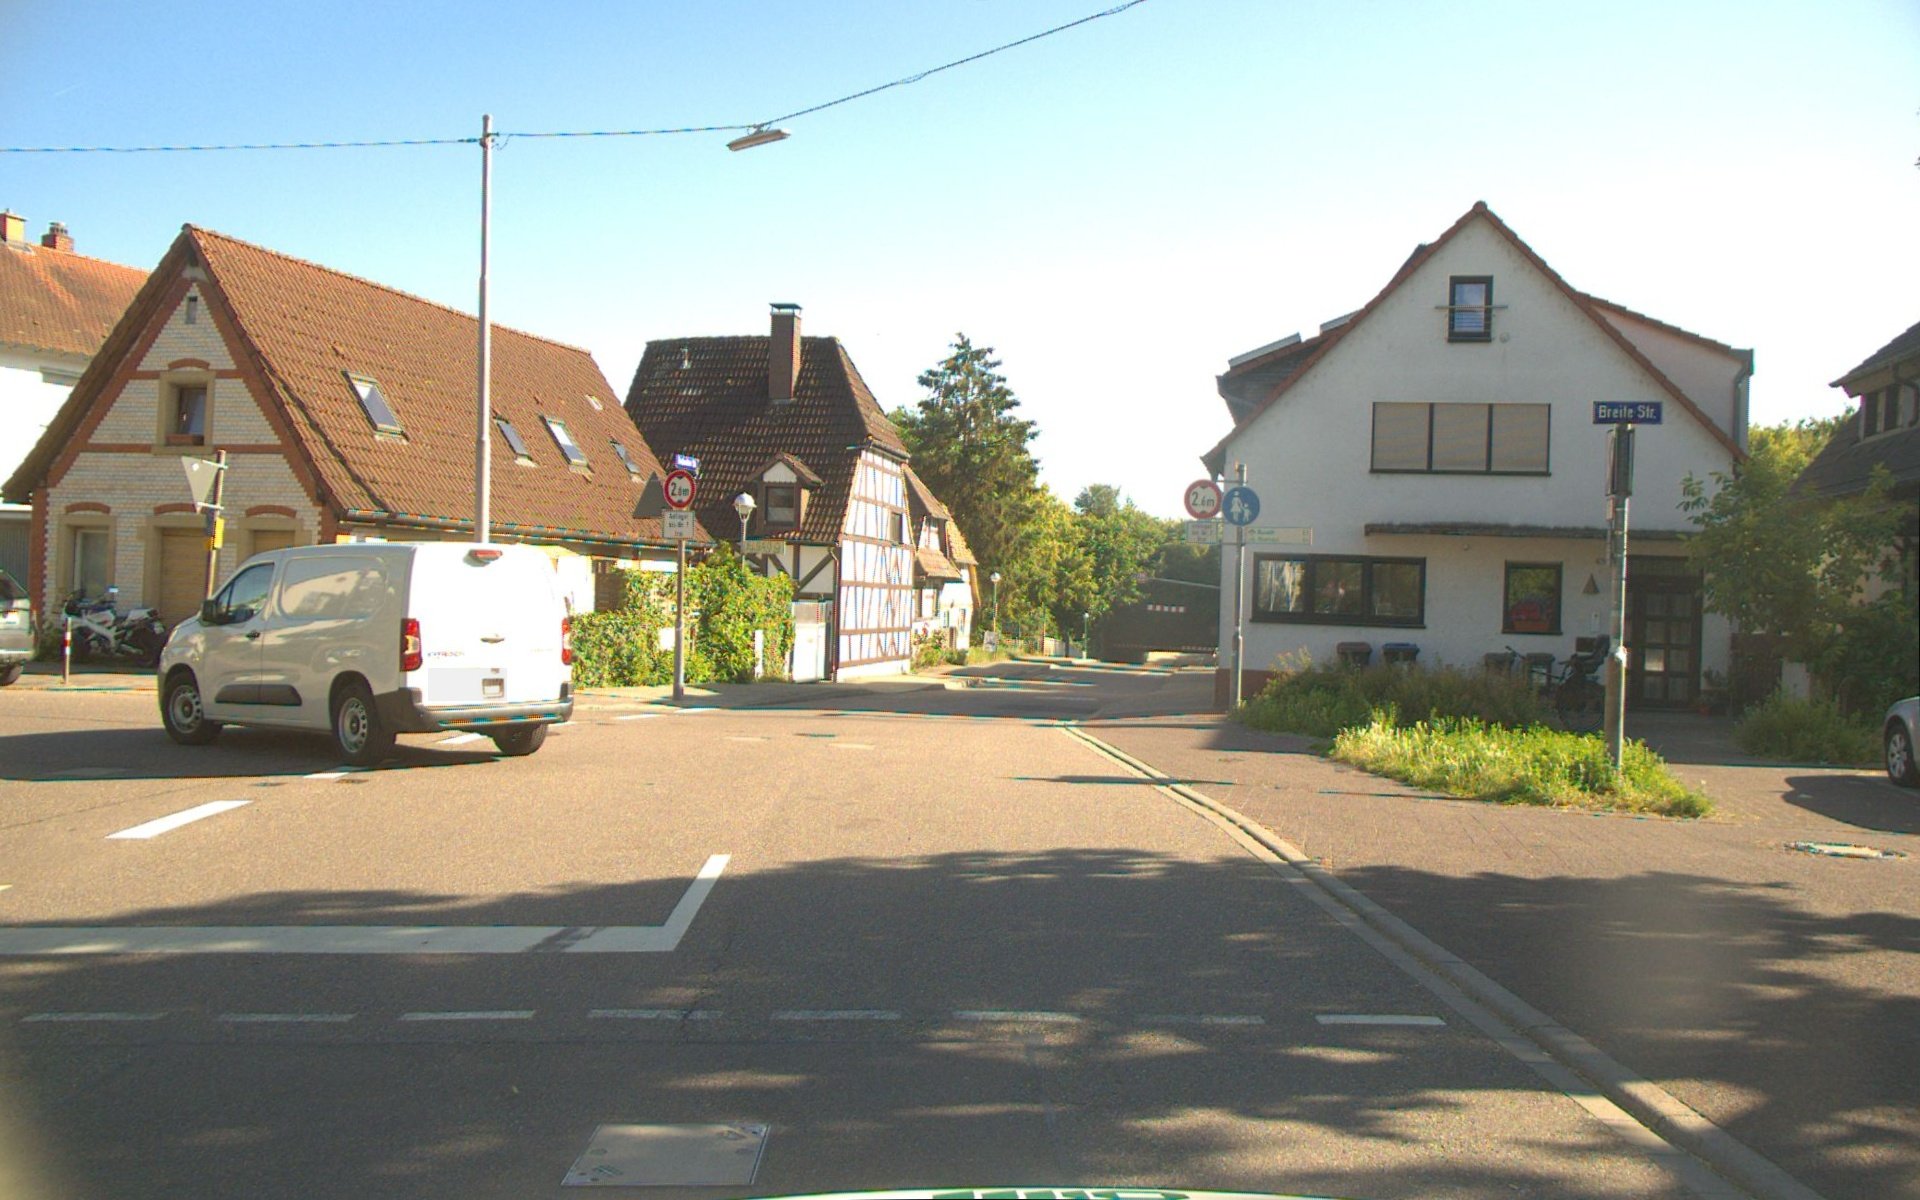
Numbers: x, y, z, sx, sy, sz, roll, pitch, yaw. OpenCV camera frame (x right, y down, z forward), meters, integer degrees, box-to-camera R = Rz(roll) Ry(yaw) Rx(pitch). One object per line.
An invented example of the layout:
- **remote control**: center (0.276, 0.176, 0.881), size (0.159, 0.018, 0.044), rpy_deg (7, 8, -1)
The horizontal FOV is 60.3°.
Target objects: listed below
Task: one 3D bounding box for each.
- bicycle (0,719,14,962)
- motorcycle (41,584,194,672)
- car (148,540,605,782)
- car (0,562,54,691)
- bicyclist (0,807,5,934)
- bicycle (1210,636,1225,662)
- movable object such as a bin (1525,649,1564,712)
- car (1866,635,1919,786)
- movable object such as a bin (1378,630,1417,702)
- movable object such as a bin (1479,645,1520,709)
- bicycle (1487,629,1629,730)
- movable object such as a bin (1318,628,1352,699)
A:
- **bicycle**: center (-4.842, 0.997, 7.561), size (0.767, 0.956, 2.265), rpy_deg (-2, 3, -32)
- **motorcycle**: center (-13.576, 0.426, 26.658), size (2.195, 1.317, 0.883), rpy_deg (1, 2, 18)
- **car**: center (-5.412, 0.421, 15.066), size (4.476, 1.880, 1.953), rpy_deg (2, 1, 41)
- **car**: center (-15.173, 0.295, 23.168), size (4.131, 1.755, 1.946), rpy_deg (2, -1, 16)
- **bicyclist**: center (-4.814, 0.581, 7.487), size (0.757, 1.819, 0.843), rpy_deg (-2, 2, -33)
- **bicycle**: center (12.272, 2.340, 78.836), size (0.674, 1.177, 1.540), rpy_deg (-3, -1, 8)
- **movable object such as a bin**: center (9.644, 1.317, 27.295), size (0.487, 0.994, 0.594), rpy_deg (2, 0, 8)
- **car**: center (10.383, 1.188, 15.271), size (1.951, 1.446, 4.807), rpy_deg (2, 2, 8)
- **movable object such as a bin**: center (7.277, 1.089, 27.543), size (0.515, 1.142, 0.749), rpy_deg (2, 0, 8)
- **movable object such as a bin**: center (8.925, 1.270, 27.387), size (0.518, 1.000, 0.670), rpy_deg (2, 0, 8)
- **bicycle**: center (8.192, 1.093, 22.717), size (1.700, 1.306, 0.700), rpy_deg (2, -3, 7)
- **movable object such as a bin**: center (6.286, 1.062, 27.751), size (0.470, 1.142, 0.749), rpy_deg (1, 0, 8)
